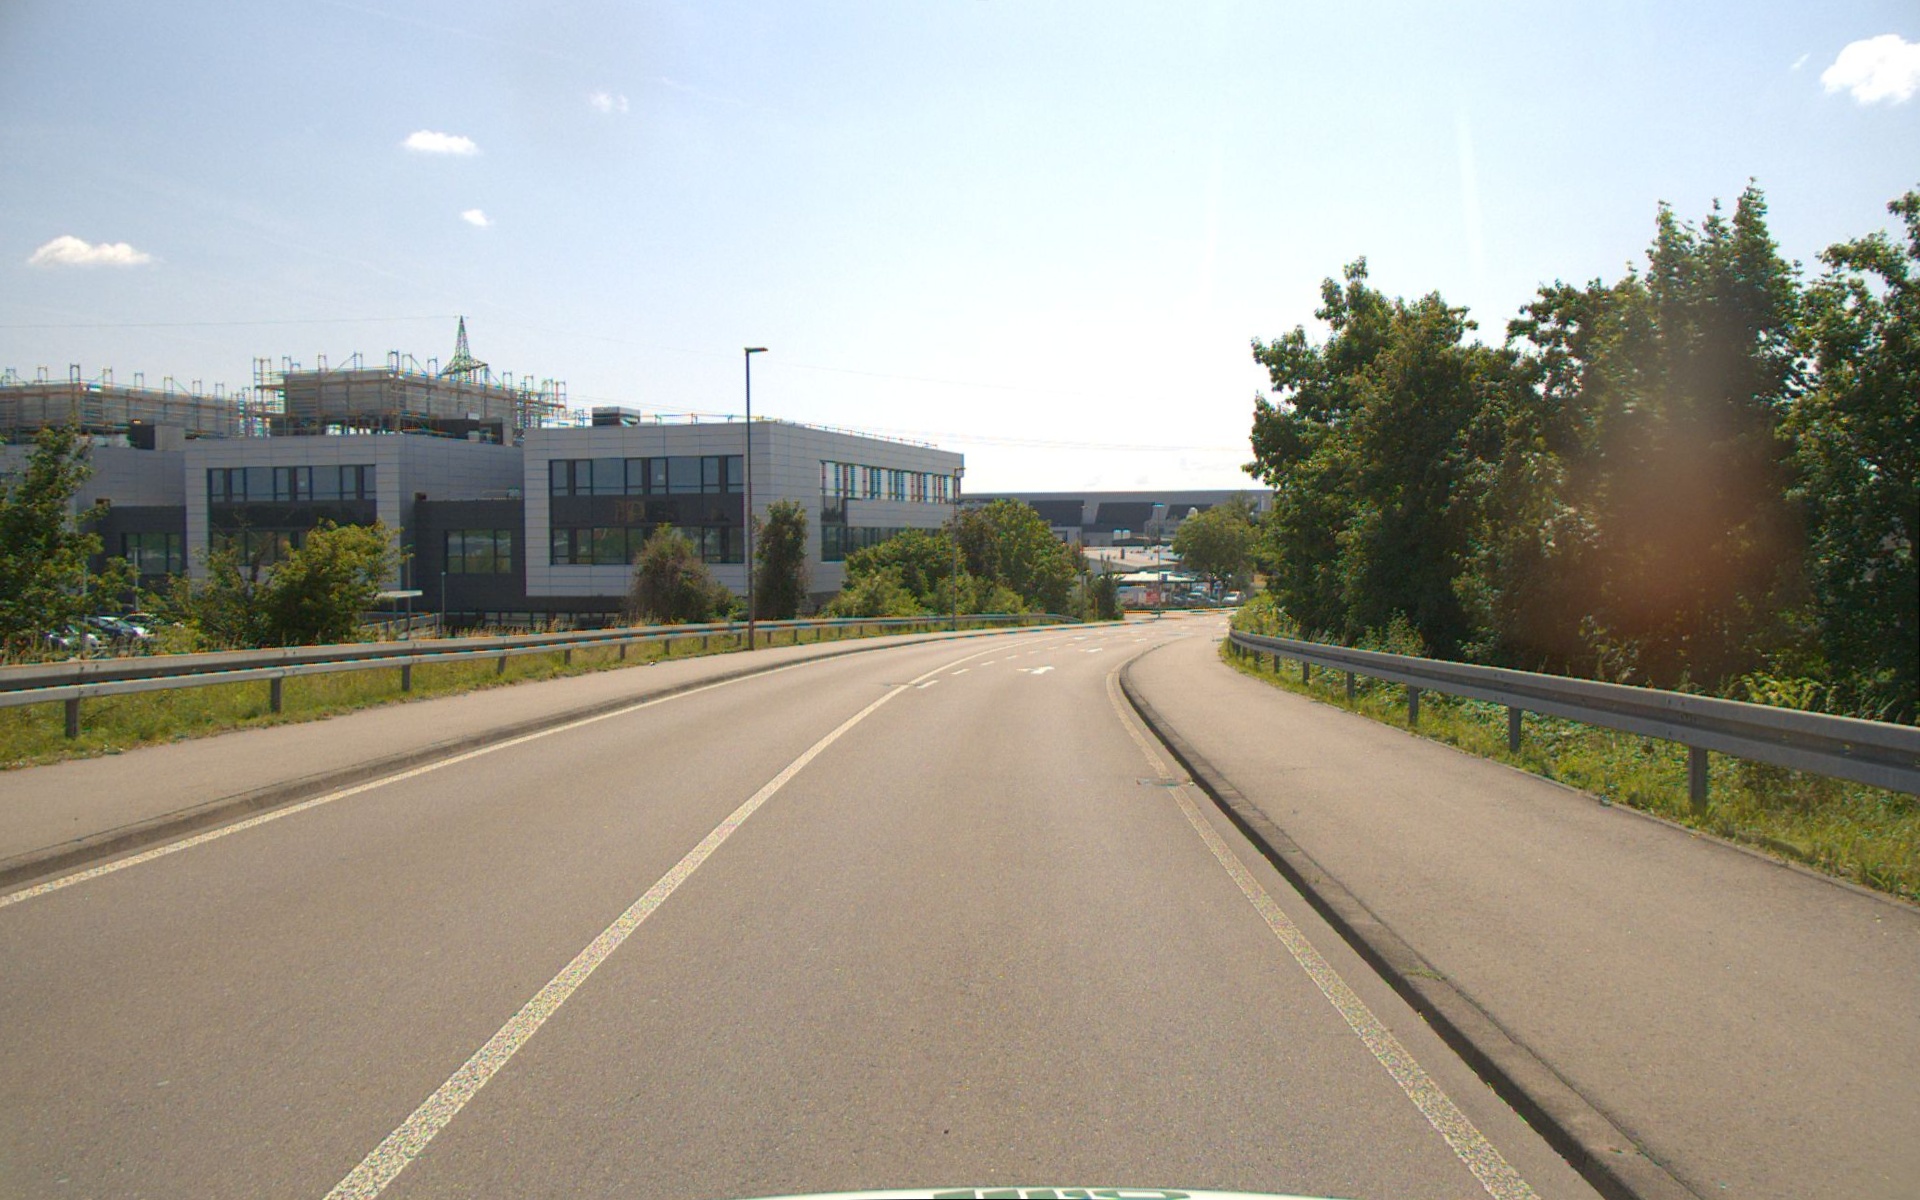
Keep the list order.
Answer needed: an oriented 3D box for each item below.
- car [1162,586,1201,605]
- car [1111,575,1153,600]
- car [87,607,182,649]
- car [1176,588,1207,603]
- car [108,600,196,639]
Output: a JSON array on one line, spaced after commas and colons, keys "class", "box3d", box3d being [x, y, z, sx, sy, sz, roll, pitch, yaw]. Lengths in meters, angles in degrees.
[{"class": "car", "box3d": [24.509, -0.503, 182.987, 3.934, 1.936, 1.986, 3, 3, 45]}, {"class": "car", "box3d": [18.517, -1.380, 178.127, 1.985, 2.654, 4.295, 0, 0, -44]}, {"class": "car", "box3d": [-42.943, 1.458, 86.130, 3.909, 2.048, 1.998, 0, 2, -6]}, {"class": "car", "box3d": [29.988, -0.598, 214.354, 3.902, 1.882, 1.836, 0, 1, 7]}, {"class": "car", "box3d": [-44.810, 1.081, 91.782, 3.909, 2.048, 1.998, 0, 2, -6]}]
